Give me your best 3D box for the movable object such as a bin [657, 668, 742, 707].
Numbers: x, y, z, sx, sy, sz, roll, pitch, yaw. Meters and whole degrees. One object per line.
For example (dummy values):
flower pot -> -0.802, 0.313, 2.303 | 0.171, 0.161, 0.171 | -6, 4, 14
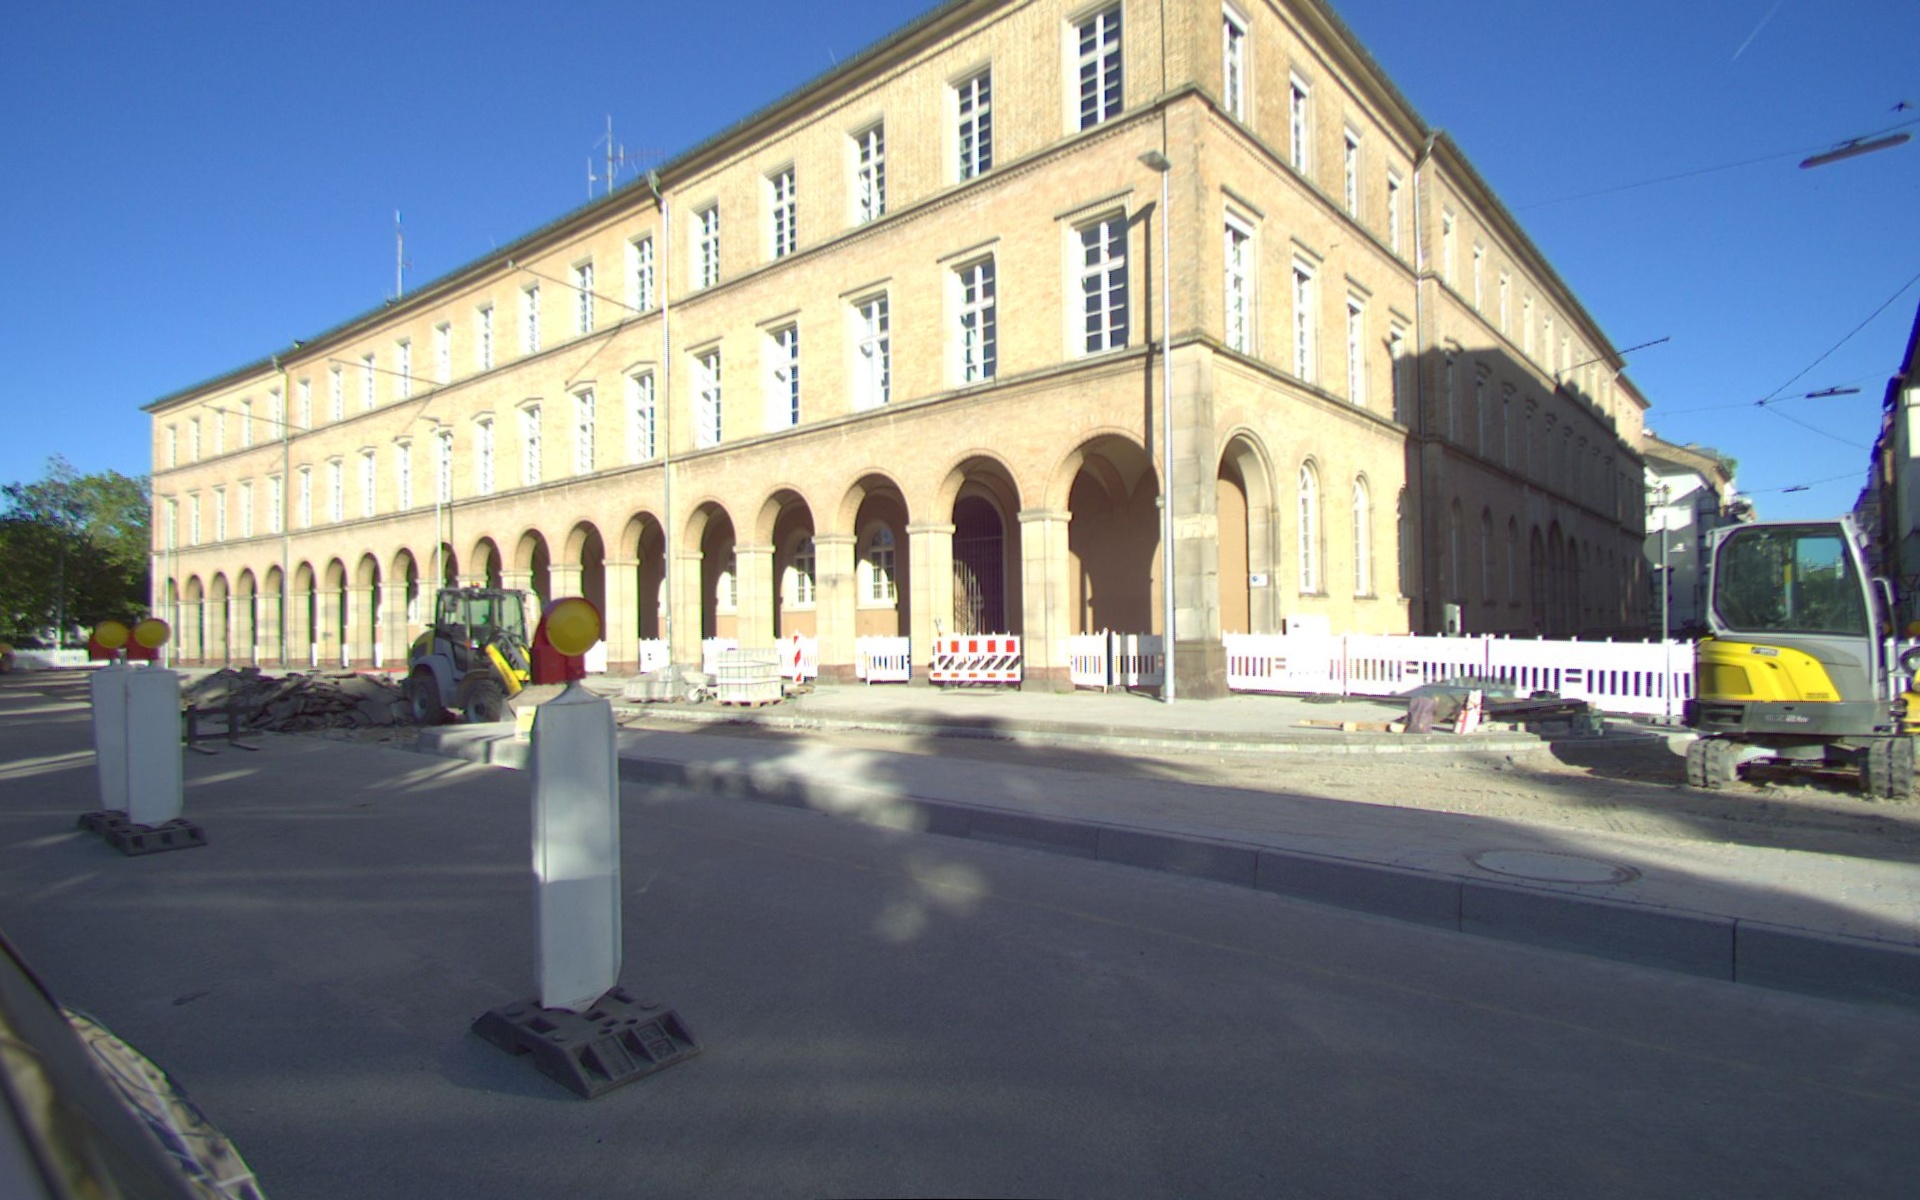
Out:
movable object such as a bin -> -5.255, 1.750, 20.439 | 1.239, 0.703, 1.176 | -3, -3, 38

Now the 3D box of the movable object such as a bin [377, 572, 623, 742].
movable object such as a bin -> -7.740, 0.933, 16.872 | 4.528, 2.472, 1.774 | -2, -3, 37

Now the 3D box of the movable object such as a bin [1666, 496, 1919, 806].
movable object such as a bin -> 8.569, 0.423, 8.265 | 4.309, 2.414, 2.075 | -2, -3, 44
